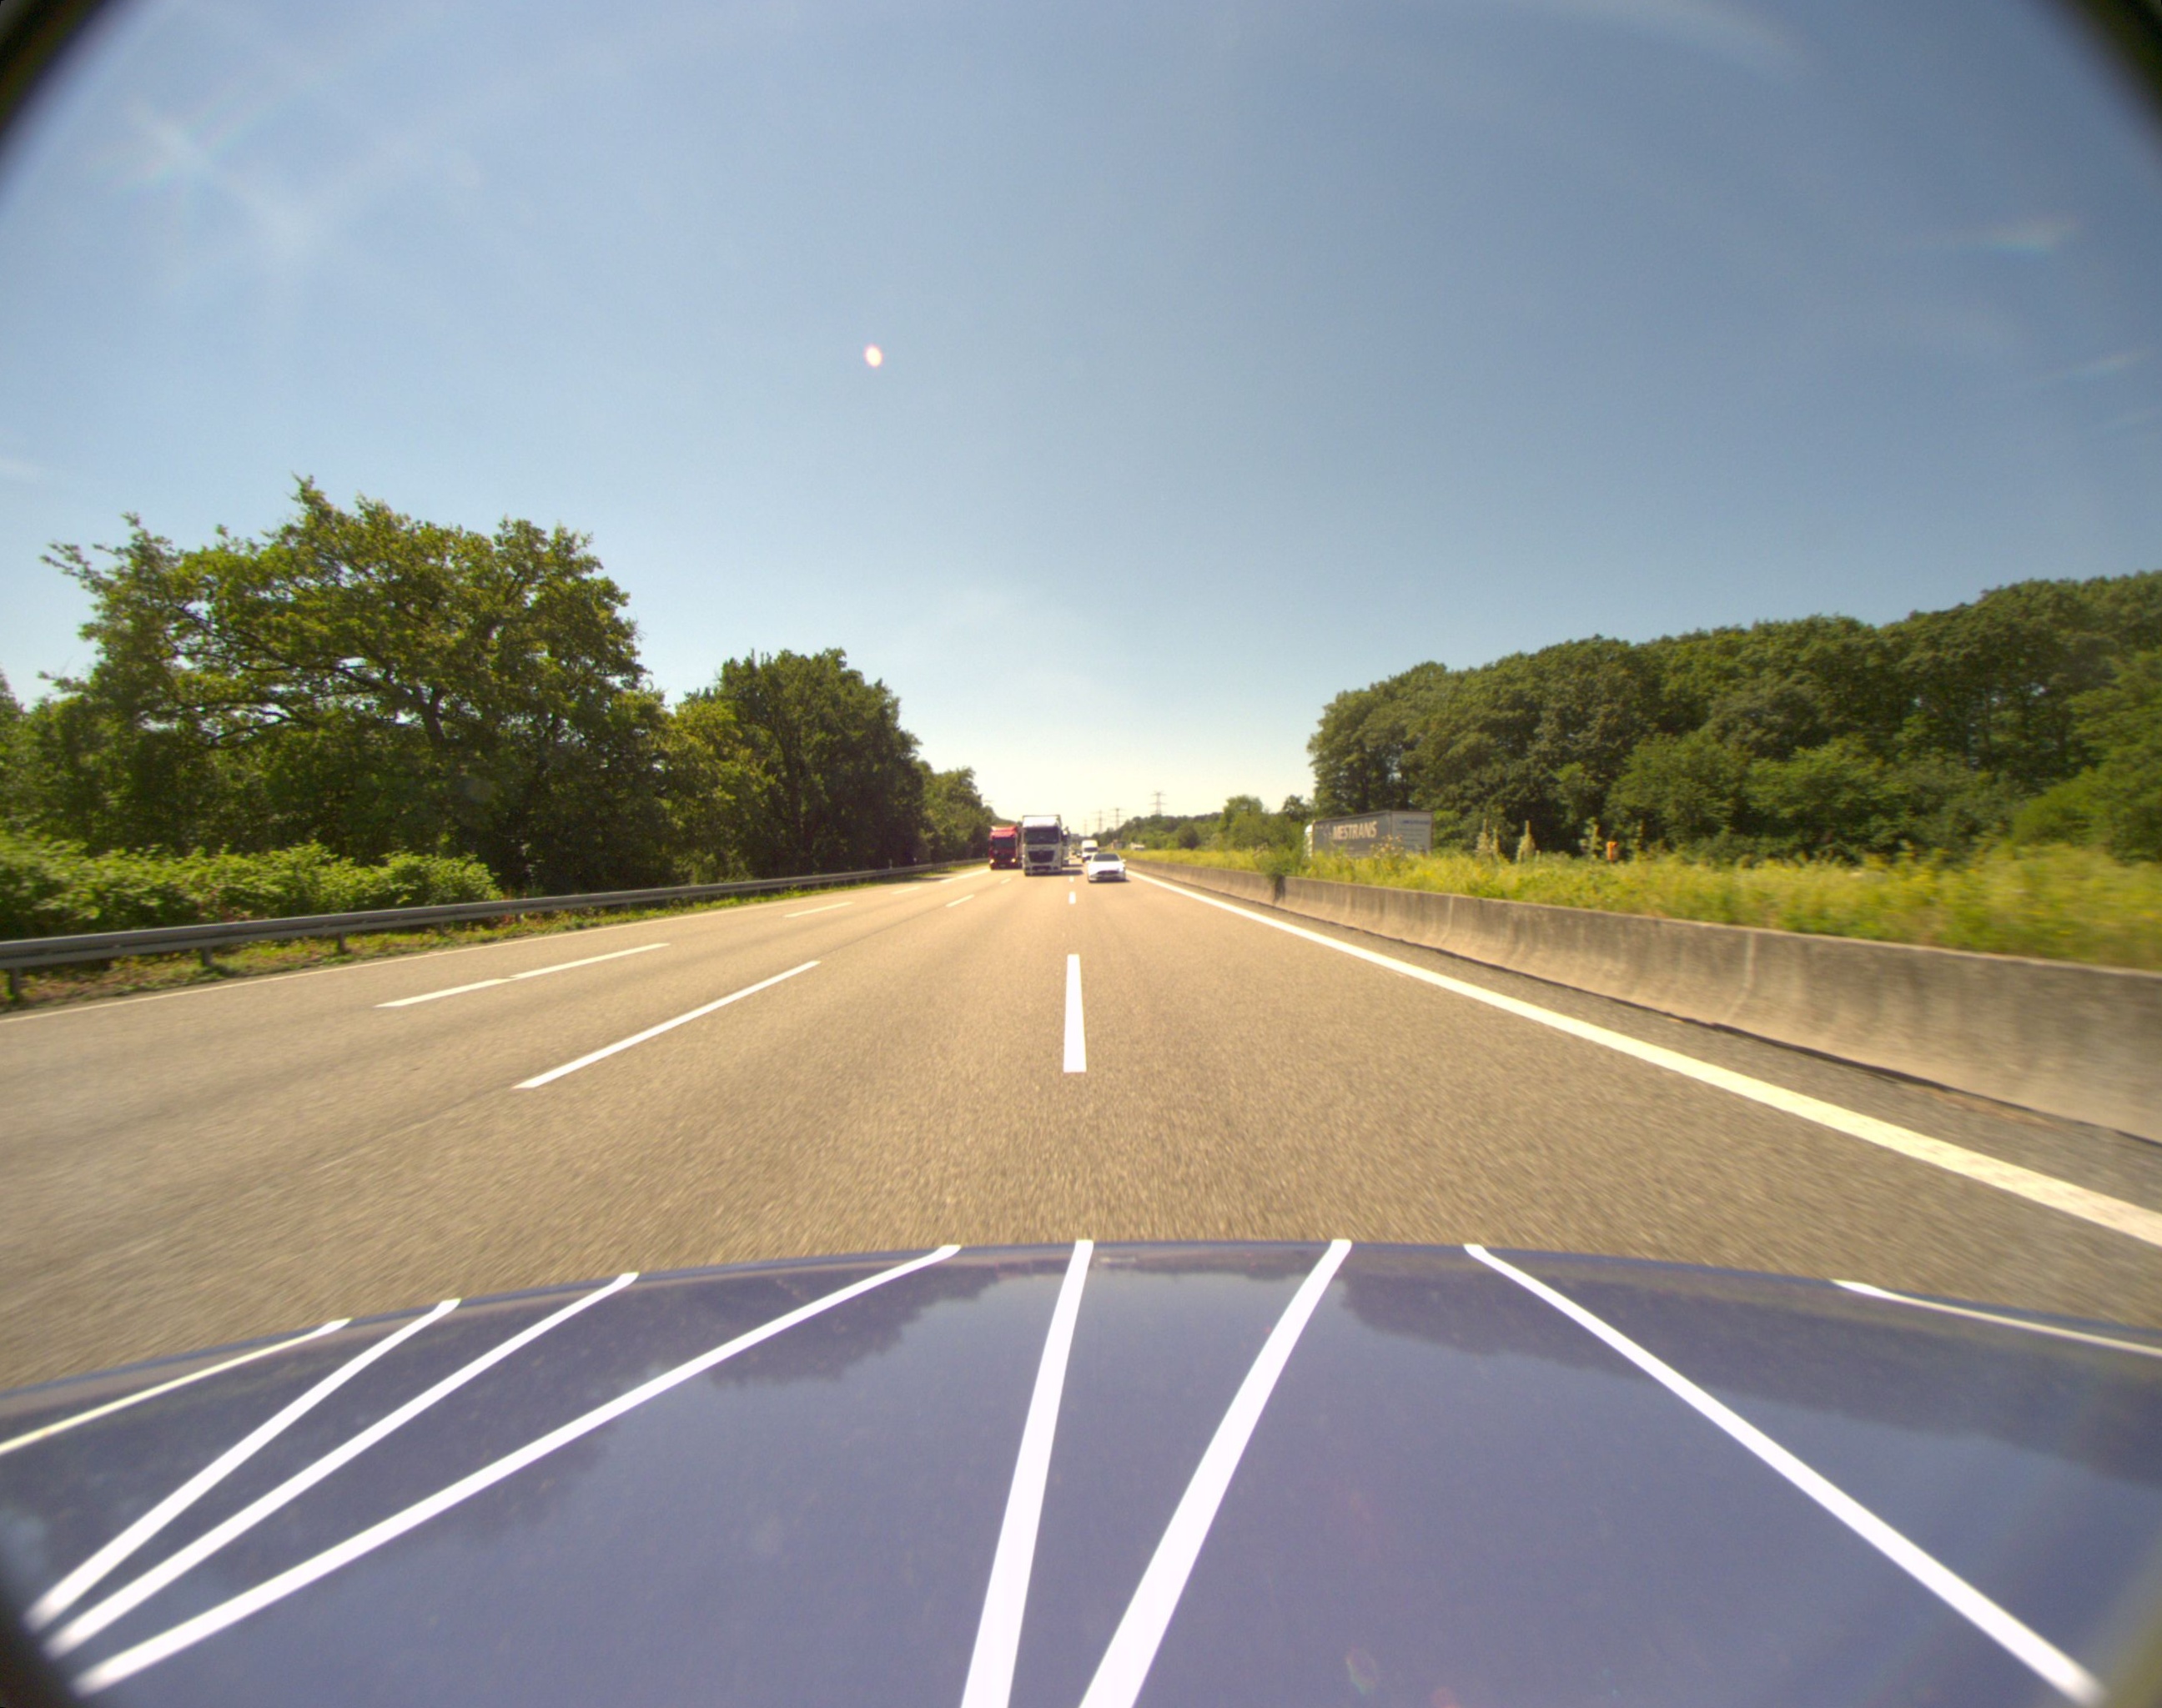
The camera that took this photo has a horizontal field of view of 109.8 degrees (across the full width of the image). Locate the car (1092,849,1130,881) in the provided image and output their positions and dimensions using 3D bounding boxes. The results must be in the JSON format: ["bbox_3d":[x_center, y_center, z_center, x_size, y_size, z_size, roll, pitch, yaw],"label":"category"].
[{"bbox_3d":[1.463,0.510,38.357,1.771,1.440,5.108,-1,1,1],"label":"car"}]

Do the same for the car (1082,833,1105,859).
[{"bbox_3d":[1.524,-0.980,91.384,2.522,2.857,6.399,-2,1,1],"label":"car"}]

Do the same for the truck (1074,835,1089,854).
[{"bbox_3d":[0.148,-2.264,185.536,3.334,4.351,8.501,-1,1,1],"label":"truck"}]

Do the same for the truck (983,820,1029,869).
[{"bbox_3d":[-7.051,-0.863,72.681,3.334,4.351,8.501,-1,1,1],"label":"truck"}]

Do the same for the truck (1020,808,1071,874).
[{"bbox_3d":[-2.381,-0.888,53.178,2.991,4.187,7.592,-2,1,1],"label":"truck"}]

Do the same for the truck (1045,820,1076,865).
[{"bbox_3d":[-1.982,-1.115,76.876,2.700,4.232,8.242,-2,1,1],"label":"truck"}]

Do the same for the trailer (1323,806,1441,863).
[{"bbox_3d":[19.053,-1.187,49.231,2.976,3.167,11.122,-2,1,-1],"label":"trailer"}]

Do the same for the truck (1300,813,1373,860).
[{"bbox_3d":[18.908,-1.266,56.793,2.809,3.167,7.292,-2,1,-1],"label":"truck"}]

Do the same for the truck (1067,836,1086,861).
[{"bbox_3d":[-0.720,-1.035,143.398,3.334,4.351,8.501,-1,1,1],"label":"truck"}]
